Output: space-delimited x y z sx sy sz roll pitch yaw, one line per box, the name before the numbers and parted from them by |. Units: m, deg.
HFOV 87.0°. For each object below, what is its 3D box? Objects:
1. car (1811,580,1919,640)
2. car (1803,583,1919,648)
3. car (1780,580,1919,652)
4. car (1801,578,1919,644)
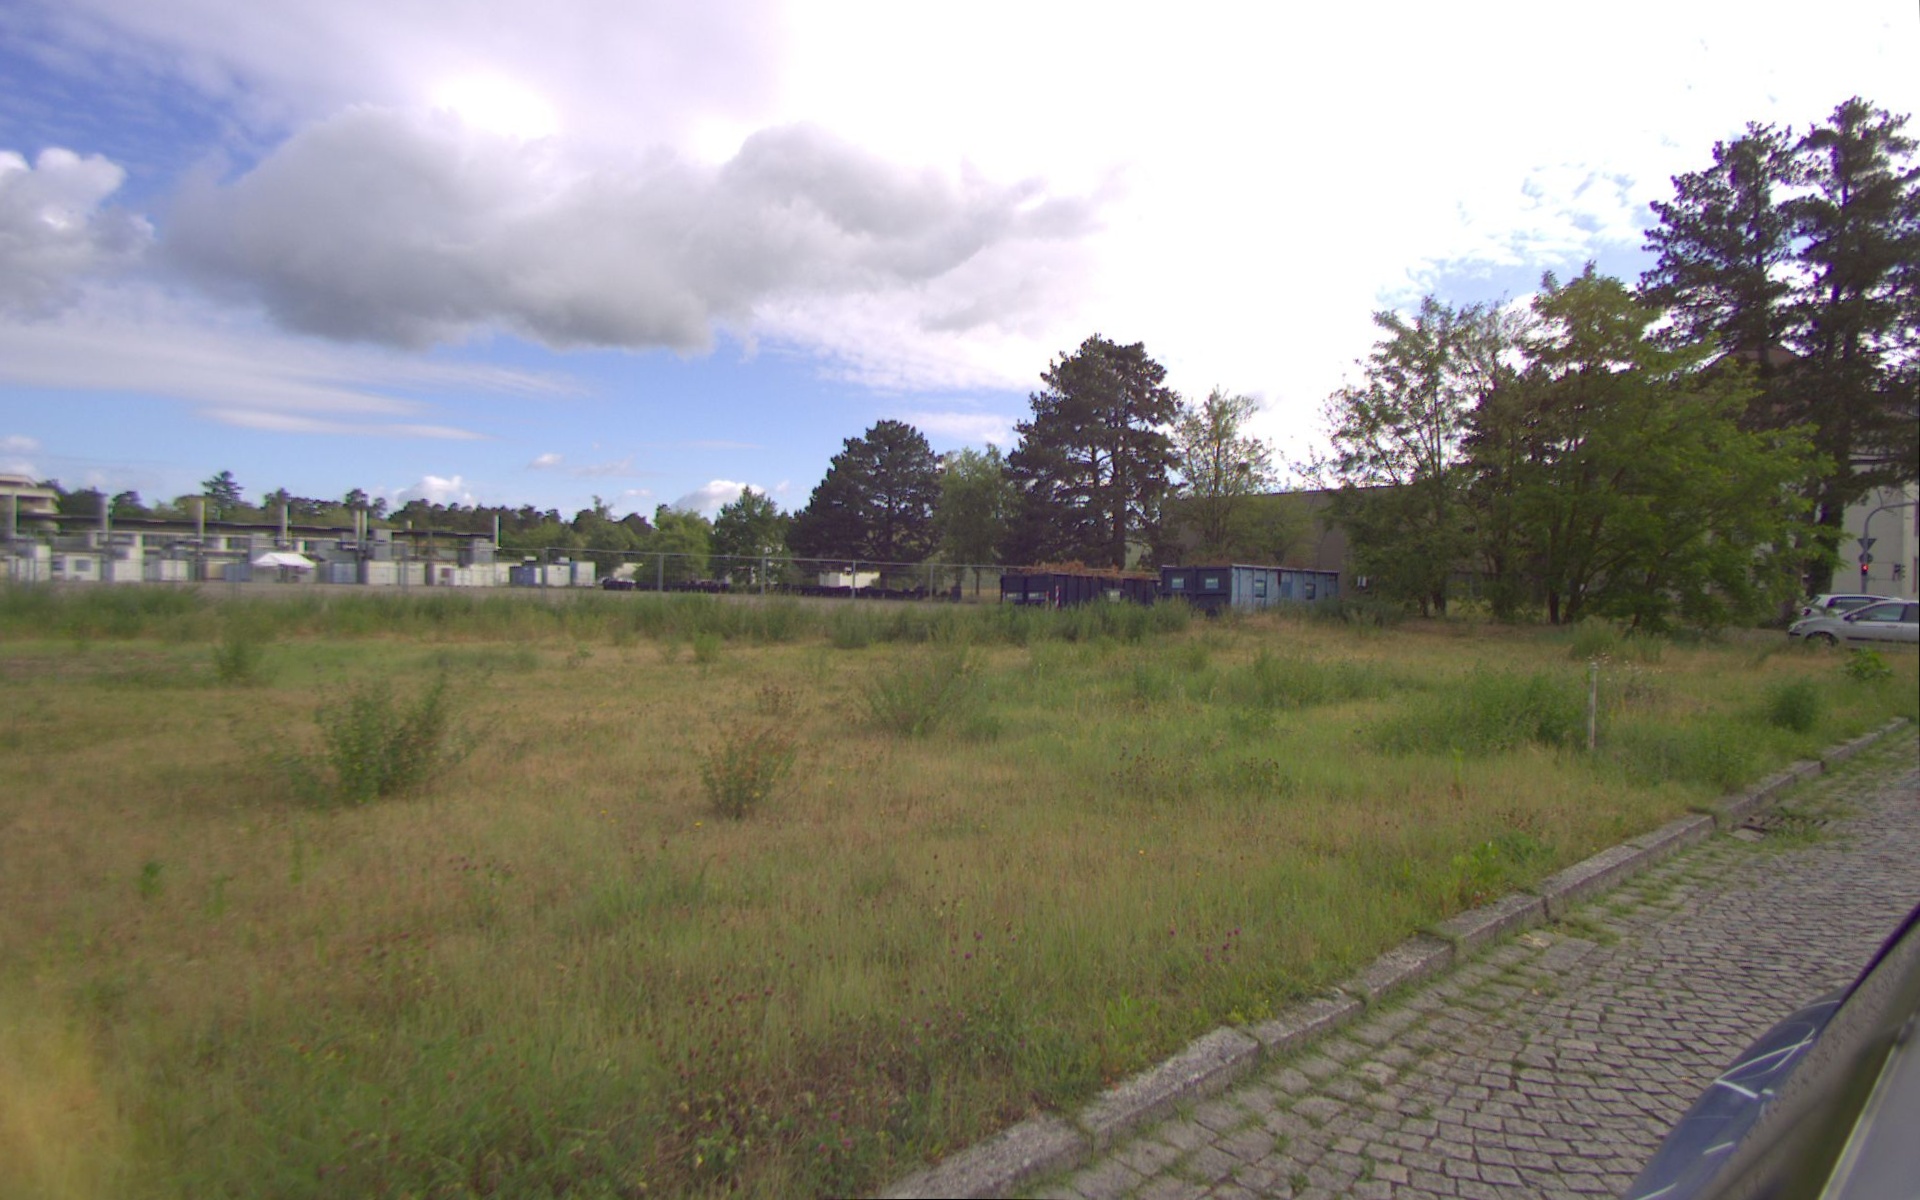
car | 28.237 0.335 29.879 1.873 1.584 4.502 0 4 -42
car | 24.612 0.437 26.136 1.853 1.470 4.082 0 4 -42
car | 22.584 0.409 24.413 1.773 1.533 4.082 0 4 -42
car | 26.369 0.340 28.203 1.854 1.615 4.247 0 4 -43
